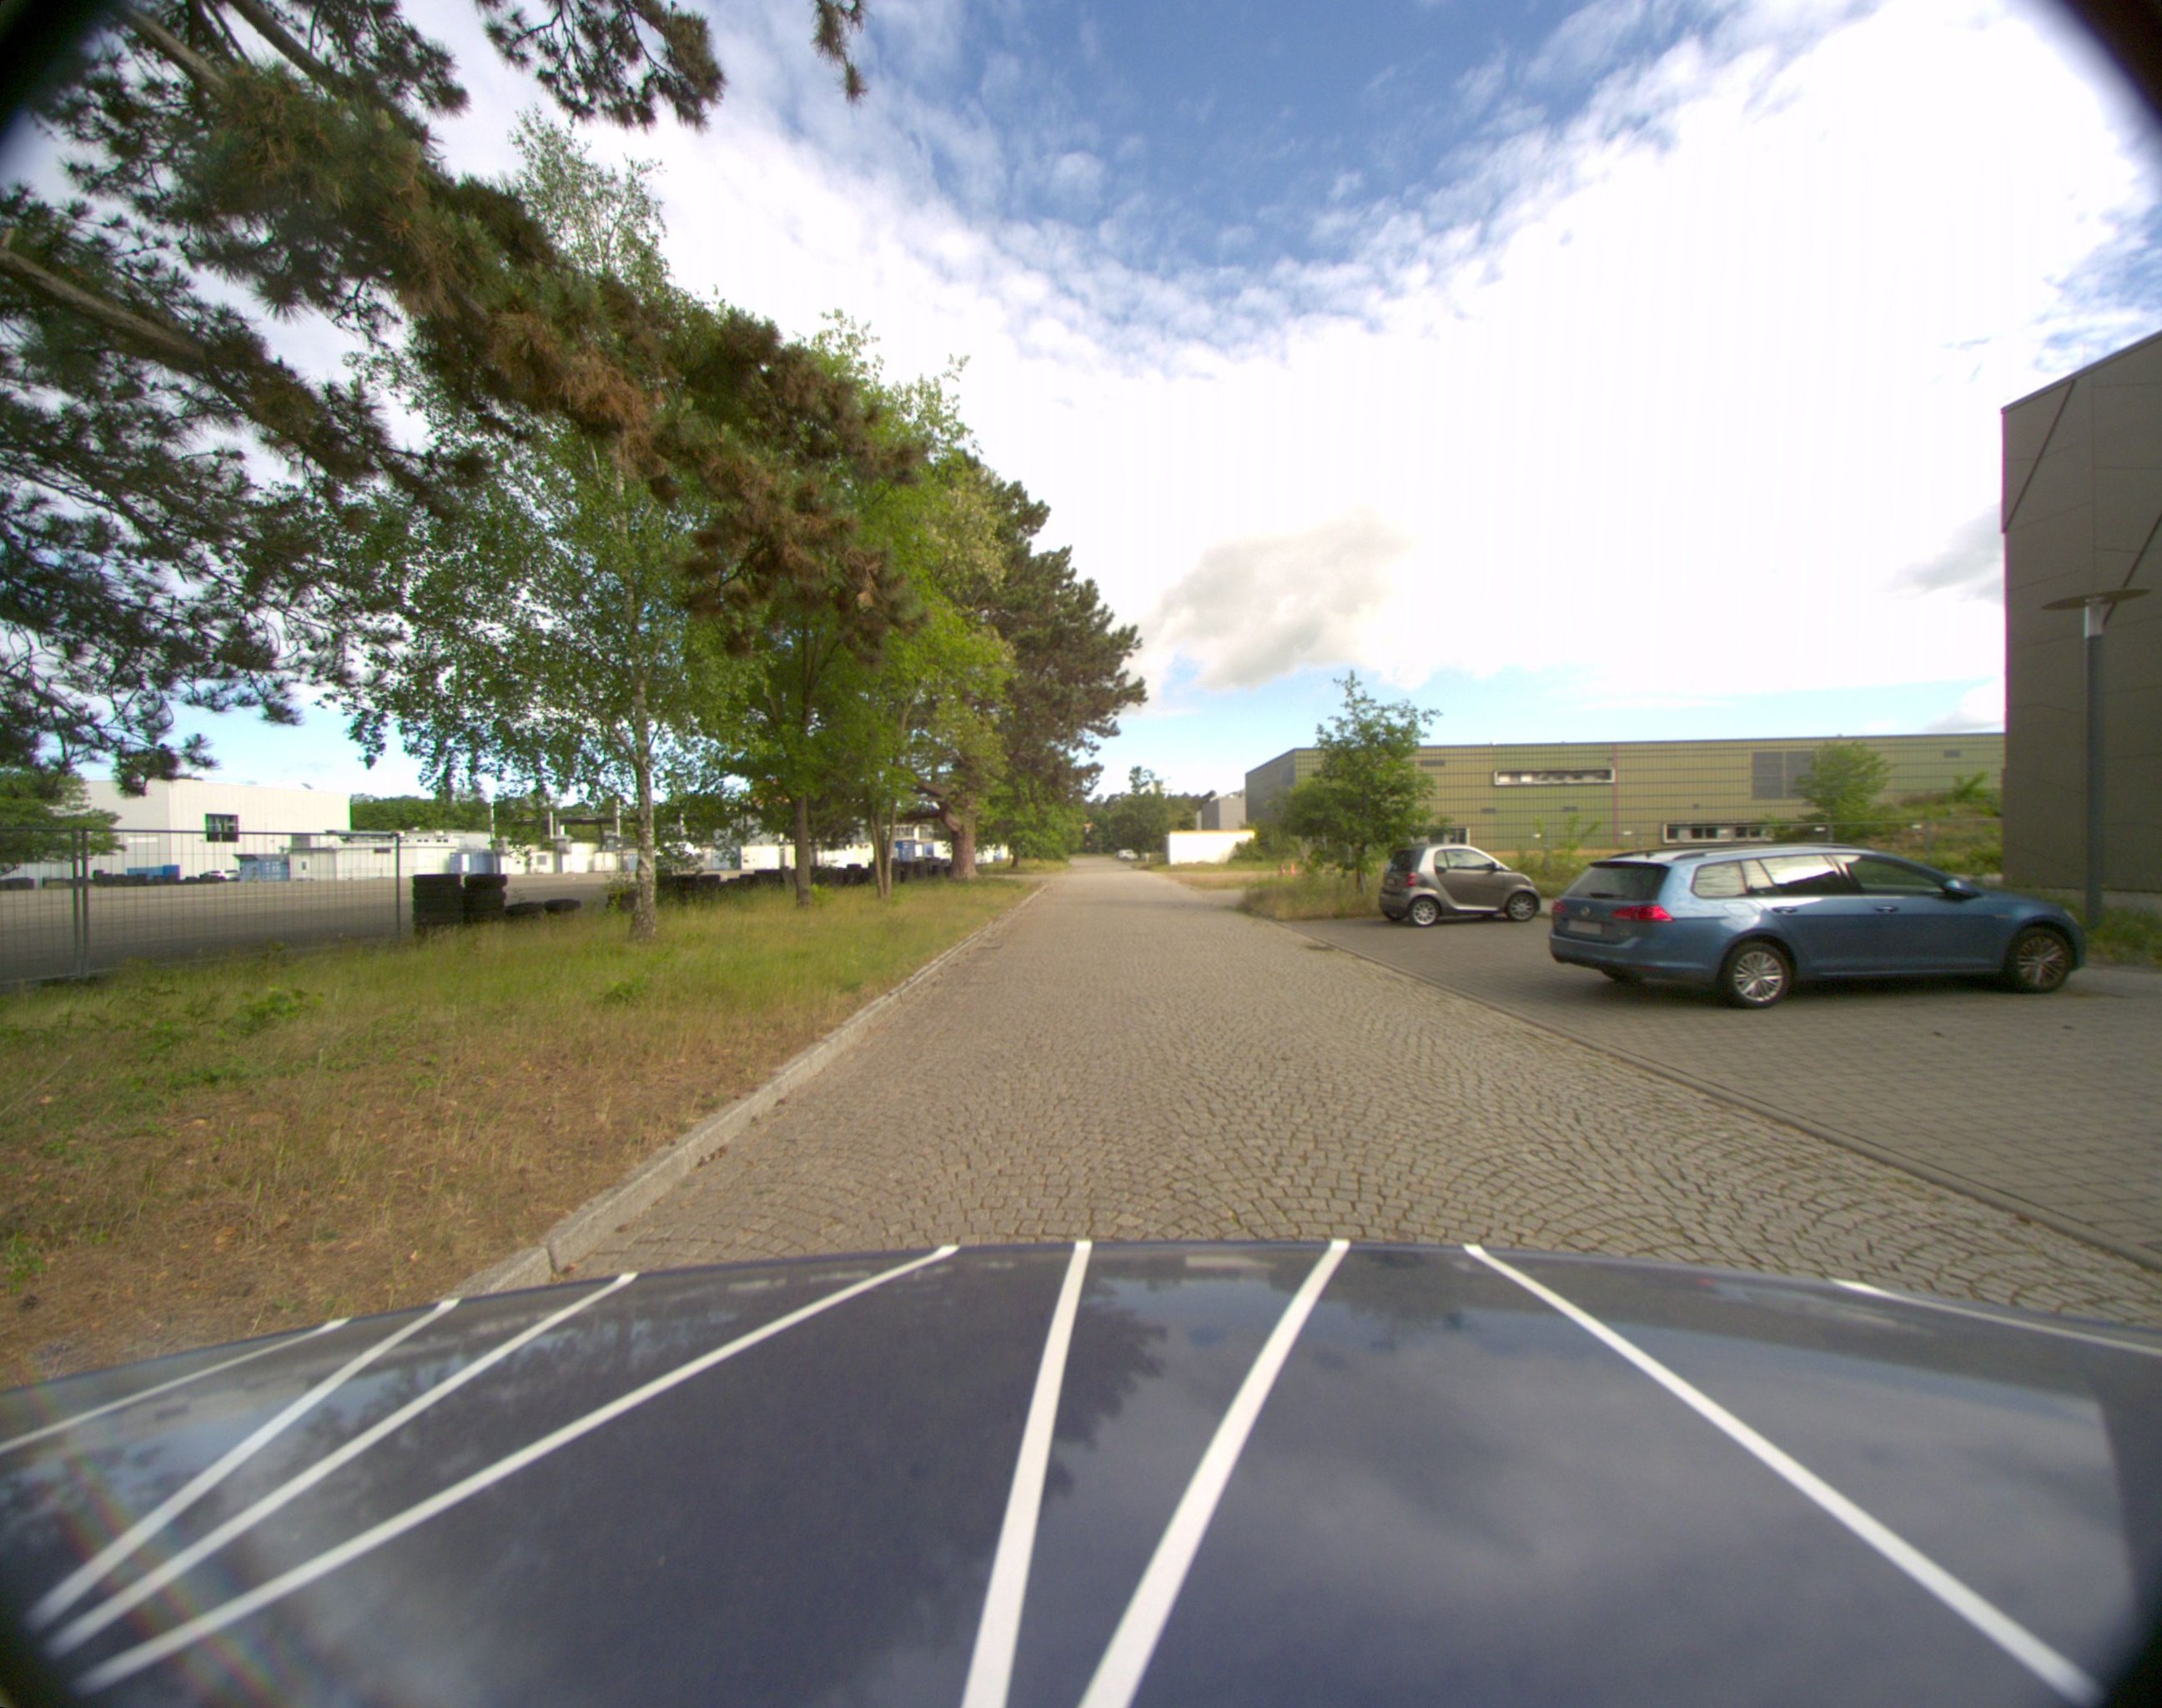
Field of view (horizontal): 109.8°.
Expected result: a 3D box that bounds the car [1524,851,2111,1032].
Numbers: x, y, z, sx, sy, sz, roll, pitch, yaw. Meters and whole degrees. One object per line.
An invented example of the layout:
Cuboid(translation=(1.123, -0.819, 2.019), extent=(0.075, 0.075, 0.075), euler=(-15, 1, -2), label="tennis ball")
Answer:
Cuboid(translation=(7.161, 0.771, 7.699), extent=(4.317, 1.420, 1.773), euler=(-3, 1, -2), label="car")

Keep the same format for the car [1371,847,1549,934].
Cuboid(translation=(7.383, 0.673, 14.986), extent=(2.661, 1.502, 1.610), euler=(-3, 1, 0), label="car")

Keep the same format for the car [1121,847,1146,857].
Cuboid(translation=(8.456, -0.310, 122.197), extent=(3.996, 1.604, 1.797), euler=(-1, 1, 4), label="car")
